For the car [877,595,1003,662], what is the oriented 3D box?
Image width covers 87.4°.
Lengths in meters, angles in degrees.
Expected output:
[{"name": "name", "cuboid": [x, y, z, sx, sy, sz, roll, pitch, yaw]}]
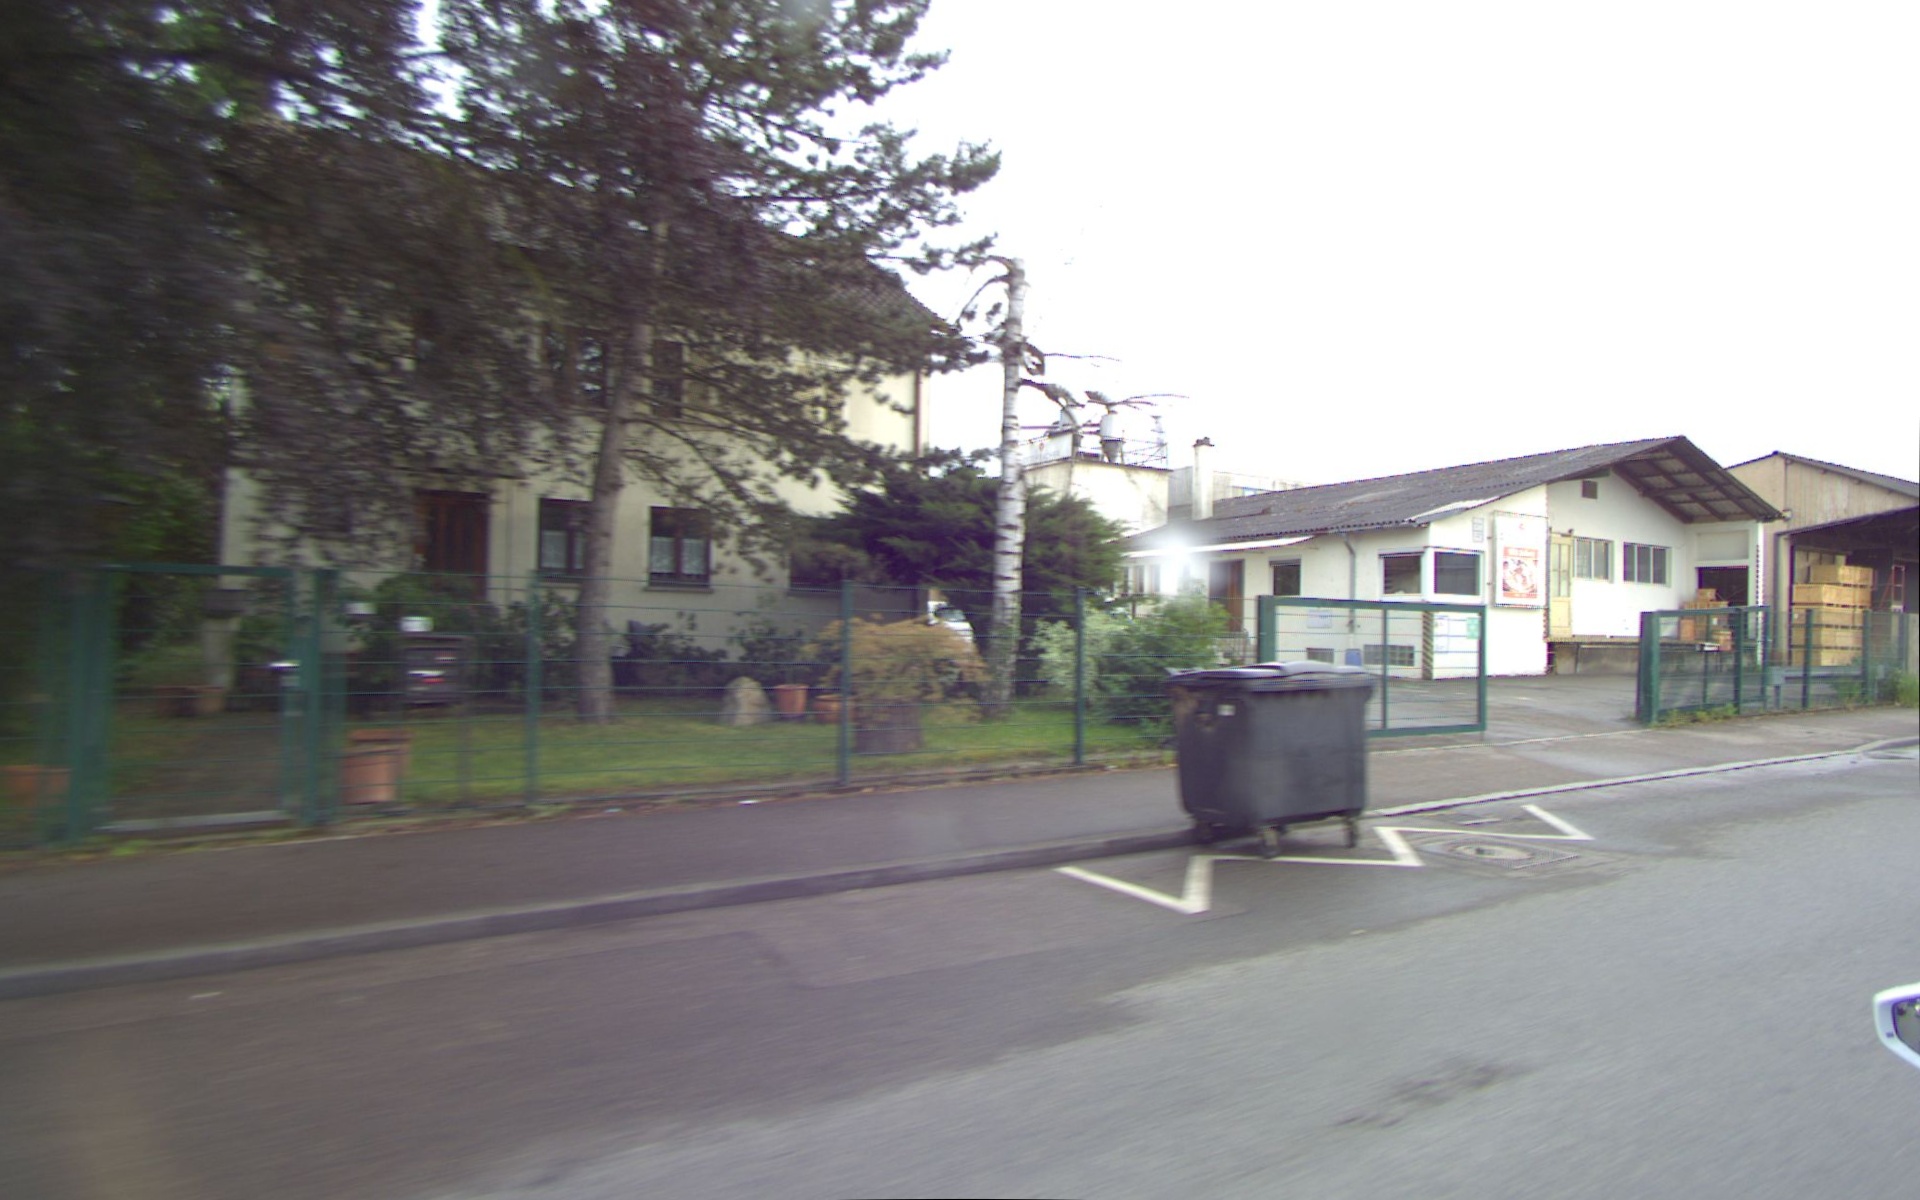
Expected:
[{"name": "car", "cuboid": [-0.613, 0.705, 26.368, 1.762, 1.573, 3.972, 2, 0, -27]}]

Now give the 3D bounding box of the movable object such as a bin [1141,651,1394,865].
[{"name": "movable object such as a bin", "cuboid": [2.245, 1.073, 7.384, 1.408, 1.328, 1.095, 2, 0, -30]}]
